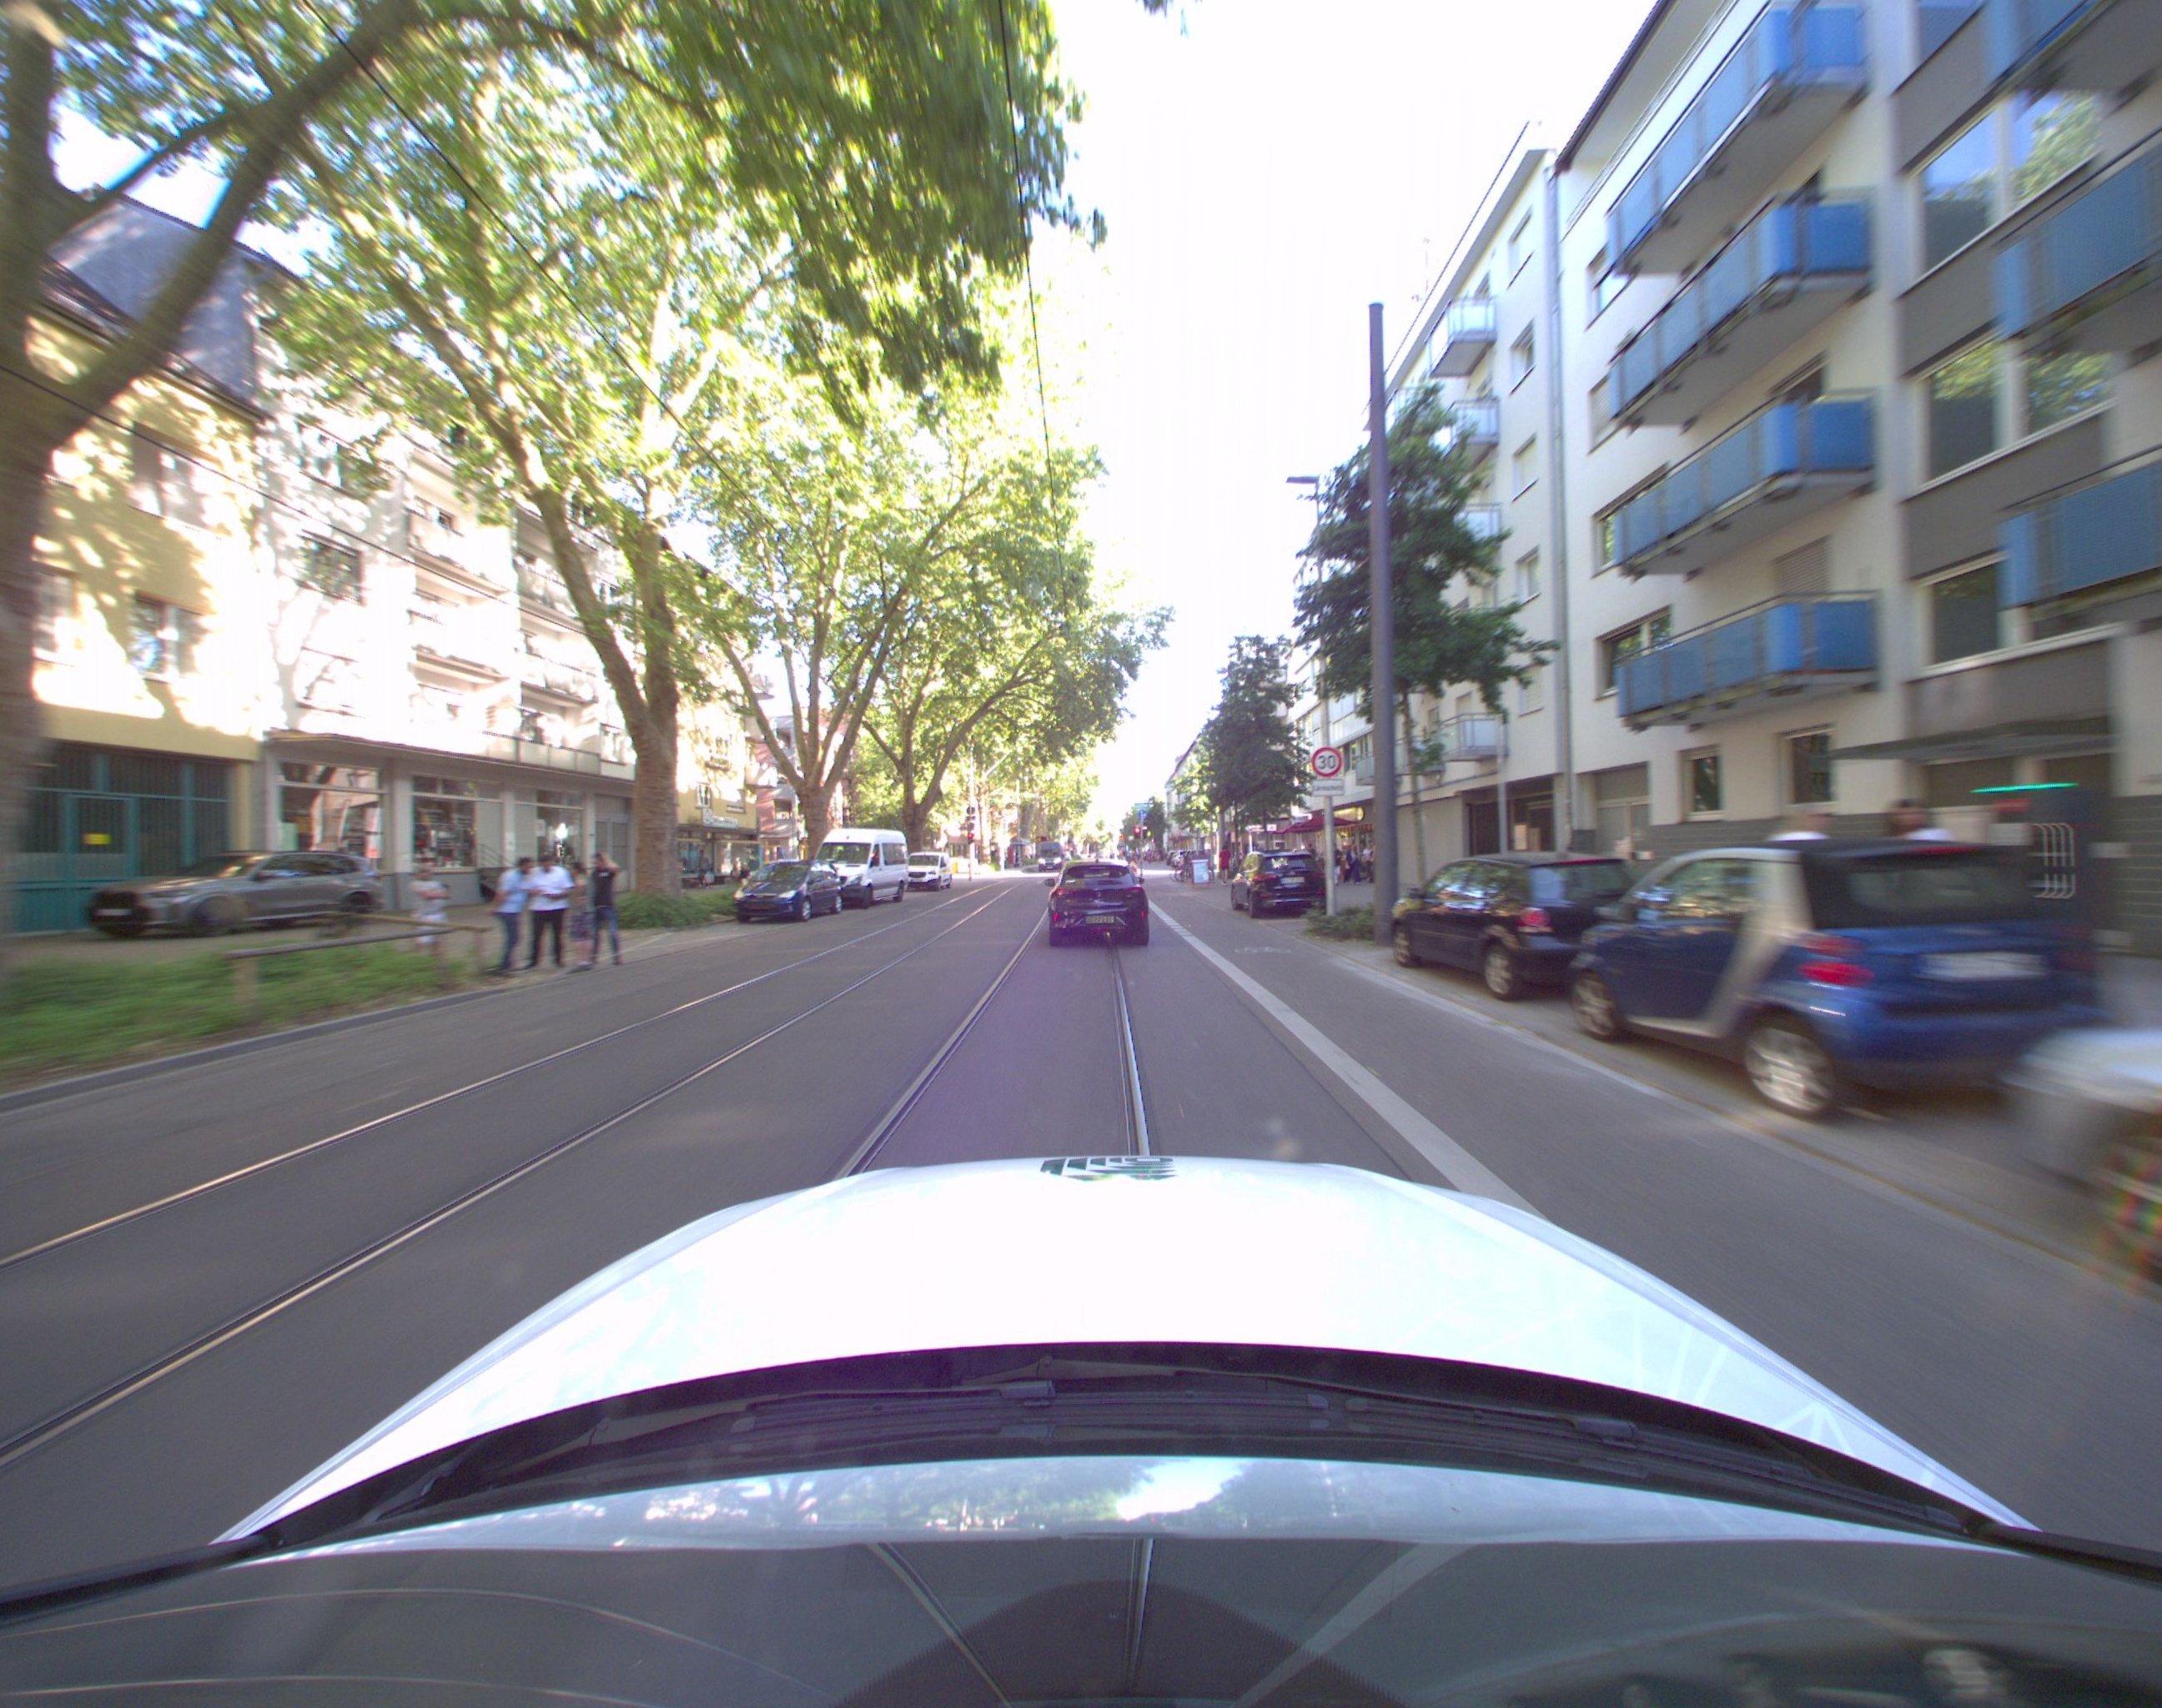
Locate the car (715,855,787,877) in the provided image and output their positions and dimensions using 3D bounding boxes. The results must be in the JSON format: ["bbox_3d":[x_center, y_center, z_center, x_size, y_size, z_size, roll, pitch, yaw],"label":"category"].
[{"bbox_3d":[-24.101,0.887,59.623,4.425,1.456,1.996,2,0,-6],"label":"car"}]

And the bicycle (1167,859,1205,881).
[{"bbox_3d":[5.202,0.784,40.305,1.813,1.100,0.496,0,-1,-7],"label":"bicycle"}]

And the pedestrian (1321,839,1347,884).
[{"bbox_3d":[9.696,0.280,31.220,0.640,1.637,0.869,-3,0,0],"label":"pedestrian"}]

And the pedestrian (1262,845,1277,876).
[{"bbox_3d":[10.944,0.378,47.309,0.588,1.784,0.995,0,-1,0],"label":"pedestrian"}]

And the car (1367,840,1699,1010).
[{"bbox_3d":[4.909,0.659,9.548,1.617,1.481,3.888,-4,0,-1],"label":"car"}]

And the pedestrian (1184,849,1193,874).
[{"bbox_3d":[6.908,0.468,52.232,0.548,1.562,0.646,-1,-2,6],"label":"pedestrian"}]

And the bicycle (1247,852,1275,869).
[{"bbox_3d":[13.315,0.473,60.226,1.909,1.207,0.511,-2,0,-2],"label":"bicycle"}]

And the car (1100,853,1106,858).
[{"bbox_3d":[6.799,0.436,254.313,1.739,1.544,4.000,0,0,0],"label":"car"}]

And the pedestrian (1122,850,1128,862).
[{"bbox_3d":[5.749,0.228,106.451,0.628,1.576,0.871,1,0,2],"label":"pedestrian"}]

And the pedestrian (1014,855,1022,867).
[{"bbox_3d":[-6.171,0.658,80.386,0.703,1.168,0.659,-2,-1,-1],"label":"pedestrian"}]

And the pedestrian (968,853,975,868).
[{"bbox_3d":[-13.049,0.774,97.229,0.732,1.672,0.861,0,-1,2],"label":"pedestrian"}]

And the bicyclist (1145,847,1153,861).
[{"bbox_3d":[8.824,-0.043,105.056,0.859,1.759,1.052,0,-1,-4],"label":"bicyclist"}]

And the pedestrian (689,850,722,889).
[{"bbox_3d":[-18.300,0.755,39.681,1.104,1.864,1.058,0,-1,-2],"label":"pedestrian"}]

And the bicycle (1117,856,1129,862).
[{"bbox_3d":[8.386,1.027,162.873,2.475,1.240,0.957,0,-1,-4],"label":"bicycle"}]

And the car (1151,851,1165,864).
[{"bbox_3d":[11.927,0.498,126.570,1.986,1.952,4.001,0,0,1],"label":"car"}]

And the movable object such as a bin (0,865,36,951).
[{"bbox_3d":[-19.690,0.957,14.177,1.226,1.502,1.344,0,-1,1],"label":"movable object such as a bin"}]

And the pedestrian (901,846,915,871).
[{"bbox_3d":[-13.222,0.349,62.219,0.921,1.835,0.920,0,2,-2],"label":"pedestrian"}]

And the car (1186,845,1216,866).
[{"bbox_3d":[10.140,0.133,69.122,1.986,1.615,4.447,-4,-1,2],"label":"car"}]

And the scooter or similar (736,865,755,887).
[{"bbox_3d":[-17.832,1.163,43.316,0.636,1.167,0.679,-1,-1,28],"label":"scooter or similar"}]

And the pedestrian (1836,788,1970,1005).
[{"bbox_3d":[7.420,0.363,7.370,0.539,1.852,0.659,-1,0,-19],"label":"pedestrian"}]

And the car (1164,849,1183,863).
[{"bbox_3d":[10.503,0.252,92.388,1.850,1.615,4.400,0,0,2],"label":"car"}]

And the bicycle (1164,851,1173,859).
[{"bbox_3d":[12.158,0.158,112.641,0.621,1.136,2.431,0,-1,-9],"label":"bicycle"}]

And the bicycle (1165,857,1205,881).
[{"bbox_3d":[4.960,0.729,38.972,1.809,1.100,0.525,-2,-1,1],"label":"bicycle"}]

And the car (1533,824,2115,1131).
[{"bbox_3d":[4.703,0.642,5.720,1.439,1.537,2.882,-3,0,1],"label":"car"}]

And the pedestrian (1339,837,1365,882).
[{"bbox_3d":[10.384,0.220,31.249,0.594,1.678,0.934,-4,-1,0],"label":"pedestrian"}]

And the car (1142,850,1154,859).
[{"bbox_3d":[12.055,0.074,145.811,1.986,1.486,4.002,0,0,2],"label":"car"}]

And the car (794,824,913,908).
[{"bbox_3d":[-7.613,0.398,27.995,2.099,2.577,6.028,0,0,3],"label":"car"}]

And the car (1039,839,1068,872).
[{"bbox_3d":[-2.415,0.149,73.668,2.105,2.738,6.117,-2,-1,2],"label":"car"}]

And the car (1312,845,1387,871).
[{"bbox_3d":[17.503,0.270,53.244,4.241,1.592,1.964,-1,-2,-5],"label":"car"}]

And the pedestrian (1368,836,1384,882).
[{"bbox_3d":[11.730,0.188,32.356,0.430,1.796,0.489,0,-1,1],"label":"pedestrian"}]

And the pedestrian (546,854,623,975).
[{"bbox_3d":[-7.432,0.873,12.193,0.761,1.735,0.718,-1,-1,32],"label":"pedestrian"}]

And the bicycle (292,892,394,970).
[{"bbox_3d":[-11.199,1.131,12.344,1.828,1.080,0.572,-1,-1,29],"label":"bicycle"}]

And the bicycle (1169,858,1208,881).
[{"bbox_3d":[5.226,0.766,39.687,1.813,1.100,0.480,0,-1,-7],"label":"bicycle"}]

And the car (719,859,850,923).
[{"bbox_3d":[-7.893,0.930,22.162,1.910,1.562,4.284,0,0,1],"label":"car"}]

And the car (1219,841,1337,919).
[{"bbox_3d":[4.762,0.588,20.328,1.753,1.587,4.328,-5,0,0],"label":"car"}]

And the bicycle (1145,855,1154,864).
[{"bbox_3d":[8.840,0.706,105.013,0.859,1.136,2.392,0,0,-4],"label":"bicycle"}]

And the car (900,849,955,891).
[{"bbox_3d":[-7.231,0.735,38.808,1.757,1.851,4.318,0,0,0],"label":"car"}]

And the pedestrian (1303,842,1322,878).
[{"bbox_3d":[10.985,0.278,38.599,0.674,1.659,0.814,0,-1,1],"label":"pedestrian"}]

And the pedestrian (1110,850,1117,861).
[{"bbox_3d":[5.054,0.210,125.573,0.742,1.709,0.768,-1,-1,36],"label":"pedestrian"}]

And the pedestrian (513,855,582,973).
[{"bbox_3d":[-8.157,0.881,12.452,0.761,1.735,0.718,-1,-1,43],"label":"pedestrian"}]

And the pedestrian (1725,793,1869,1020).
[{"bbox_3d":[6.240,0.440,7.129,0.475,1.852,0.662,-6,0,-8],"label":"pedestrian"}]

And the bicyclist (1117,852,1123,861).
[{"bbox_3d":[7.729,0.579,162.835,1.161,1.748,0.957,0,-1,-4],"label":"bicyclist"}]

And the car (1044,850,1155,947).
[{"bbox_3d":[0.311,0.730,15.028,1.754,1.508,3.682,-2,0,0],"label":"car"}]

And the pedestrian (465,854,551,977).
[{"bbox_3d":[-8.413,0.879,11.975,0.762,1.735,0.720,-1,-1,18],"label":"pedestrian"}]

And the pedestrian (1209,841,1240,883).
[{"bbox_3d":[6.130,0.332,34.827,0.867,1.758,1.054,-1,-1,39],"label":"pedestrian"}]

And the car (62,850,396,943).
[{"bbox_3d":[-18.085,0.816,17.756,1.985,1.733,4.901,0,0,2],"label":"car"}]

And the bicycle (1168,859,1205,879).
[{"bbox_3d":[5.311,0.760,41.112,1.810,0.994,0.481,0,-1,-1],"label":"bicycle"}]

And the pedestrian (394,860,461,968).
[{"bbox_3d":[-10.216,0.900,12.731,0.761,1.610,0.718,-1,-1,43],"label":"pedestrian"}]

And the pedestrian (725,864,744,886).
[{"bbox_3d":[-18.583,1.124,43.689,0.636,1.167,0.679,-1,-1,28],"label":"pedestrian"}]

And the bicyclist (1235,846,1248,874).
[{"bbox_3d":[9.986,0.352,50.720,0.674,1.717,0.966,-1,-1,4],"label":"bicyclist"}]

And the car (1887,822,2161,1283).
[{"bbox_3d":[4.513,0.651,1.597,1.780,1.537,4.129,-4,0,1],"label":"car"}]

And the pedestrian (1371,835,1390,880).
[{"bbox_3d":[12.308,0.143,33.453,0.520,1.805,0.635,-1,-1,45],"label":"pedestrian"}]

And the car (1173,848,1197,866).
[{"bbox_3d":[9.751,0.259,76.598,1.792,1.606,4.417,0,0,2],"label":"car"}]

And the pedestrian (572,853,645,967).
[{"bbox_3d":[-7.584,0.881,13.094,0.709,1.777,0.771,0,-1,1],"label":"pedestrian"}]
